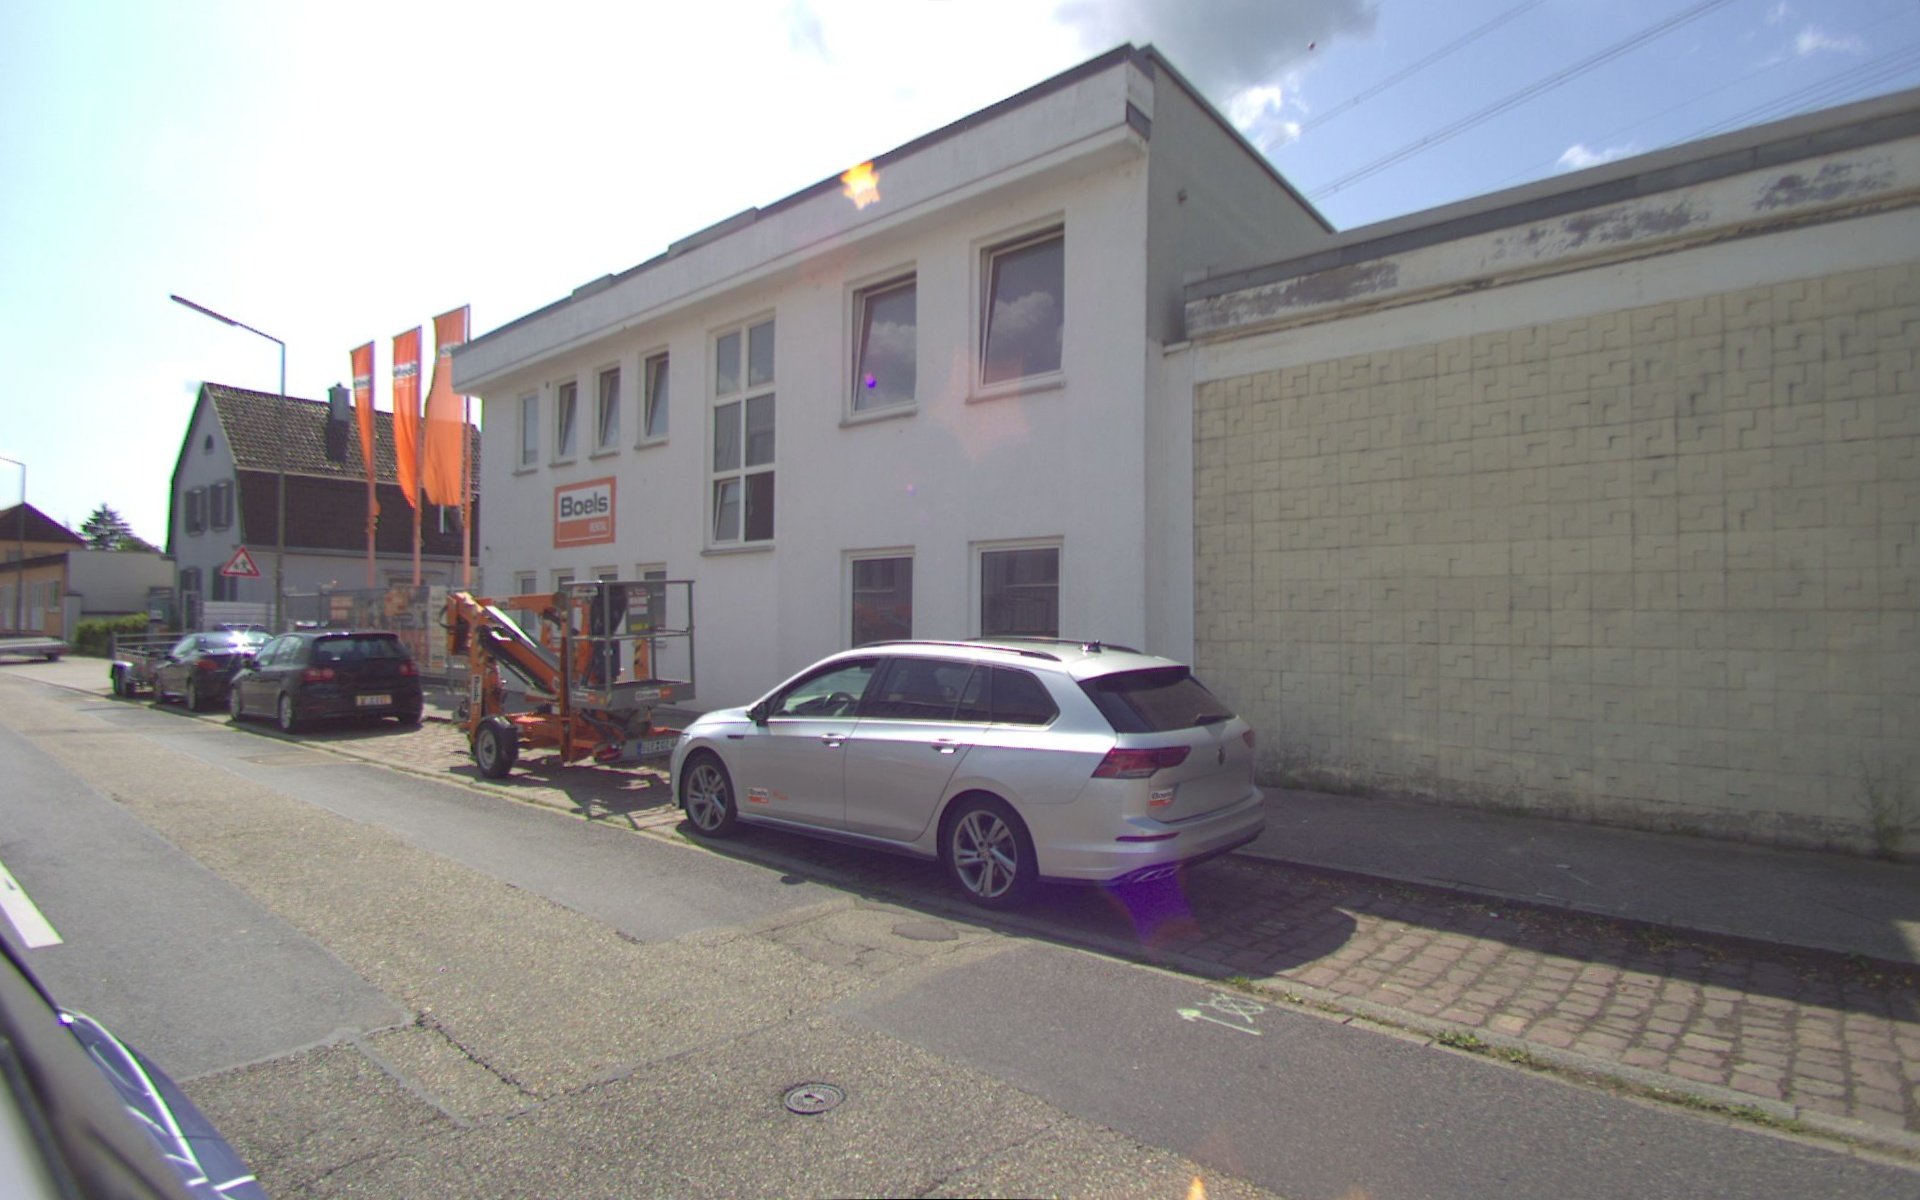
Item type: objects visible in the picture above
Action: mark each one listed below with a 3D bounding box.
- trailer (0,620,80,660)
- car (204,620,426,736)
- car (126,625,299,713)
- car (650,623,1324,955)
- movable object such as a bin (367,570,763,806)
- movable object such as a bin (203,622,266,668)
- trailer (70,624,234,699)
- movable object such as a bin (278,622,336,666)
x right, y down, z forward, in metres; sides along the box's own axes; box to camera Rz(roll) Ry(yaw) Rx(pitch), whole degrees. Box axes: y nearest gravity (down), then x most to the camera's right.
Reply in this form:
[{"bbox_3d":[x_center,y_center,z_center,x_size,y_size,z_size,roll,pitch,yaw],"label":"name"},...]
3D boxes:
[{"bbox_3d":[-32.094,1.314,34.385,6.048,1.173,2.426,-1,0,40],"label":"trailer"},{"bbox_3d":[-9.837,1.067,15.308,4.220,1.466,1.656,-1,0,40],"label":"car"},{"bbox_3d":[-13.805,1.190,18.620,3.880,1.387,1.656,-1,0,39],"label":"car"},{"bbox_3d":[-0.106,0.925,6.798,4.511,1.466,1.656,-1,0,41],"label":"car"},{"bbox_3d":[-4.389,0.764,10.719,5.134,1.933,1.597,-1,2,40],"label":"movable object such as a bin"},{"bbox_3d":[-23.396,1.442,32.648,1.186,1.438,1.304,-1,-2,36],"label":"movable object such as a bin"},{"bbox_3d":[-17.537,1.241,21.865,5.046,1.387,1.750,-1,0,39],"label":"trailer"},{"bbox_3d":[-22.139,1.484,34.311,1.149,1.438,1.304,-1,-3,36],"label":"movable object such as a bin"}]
